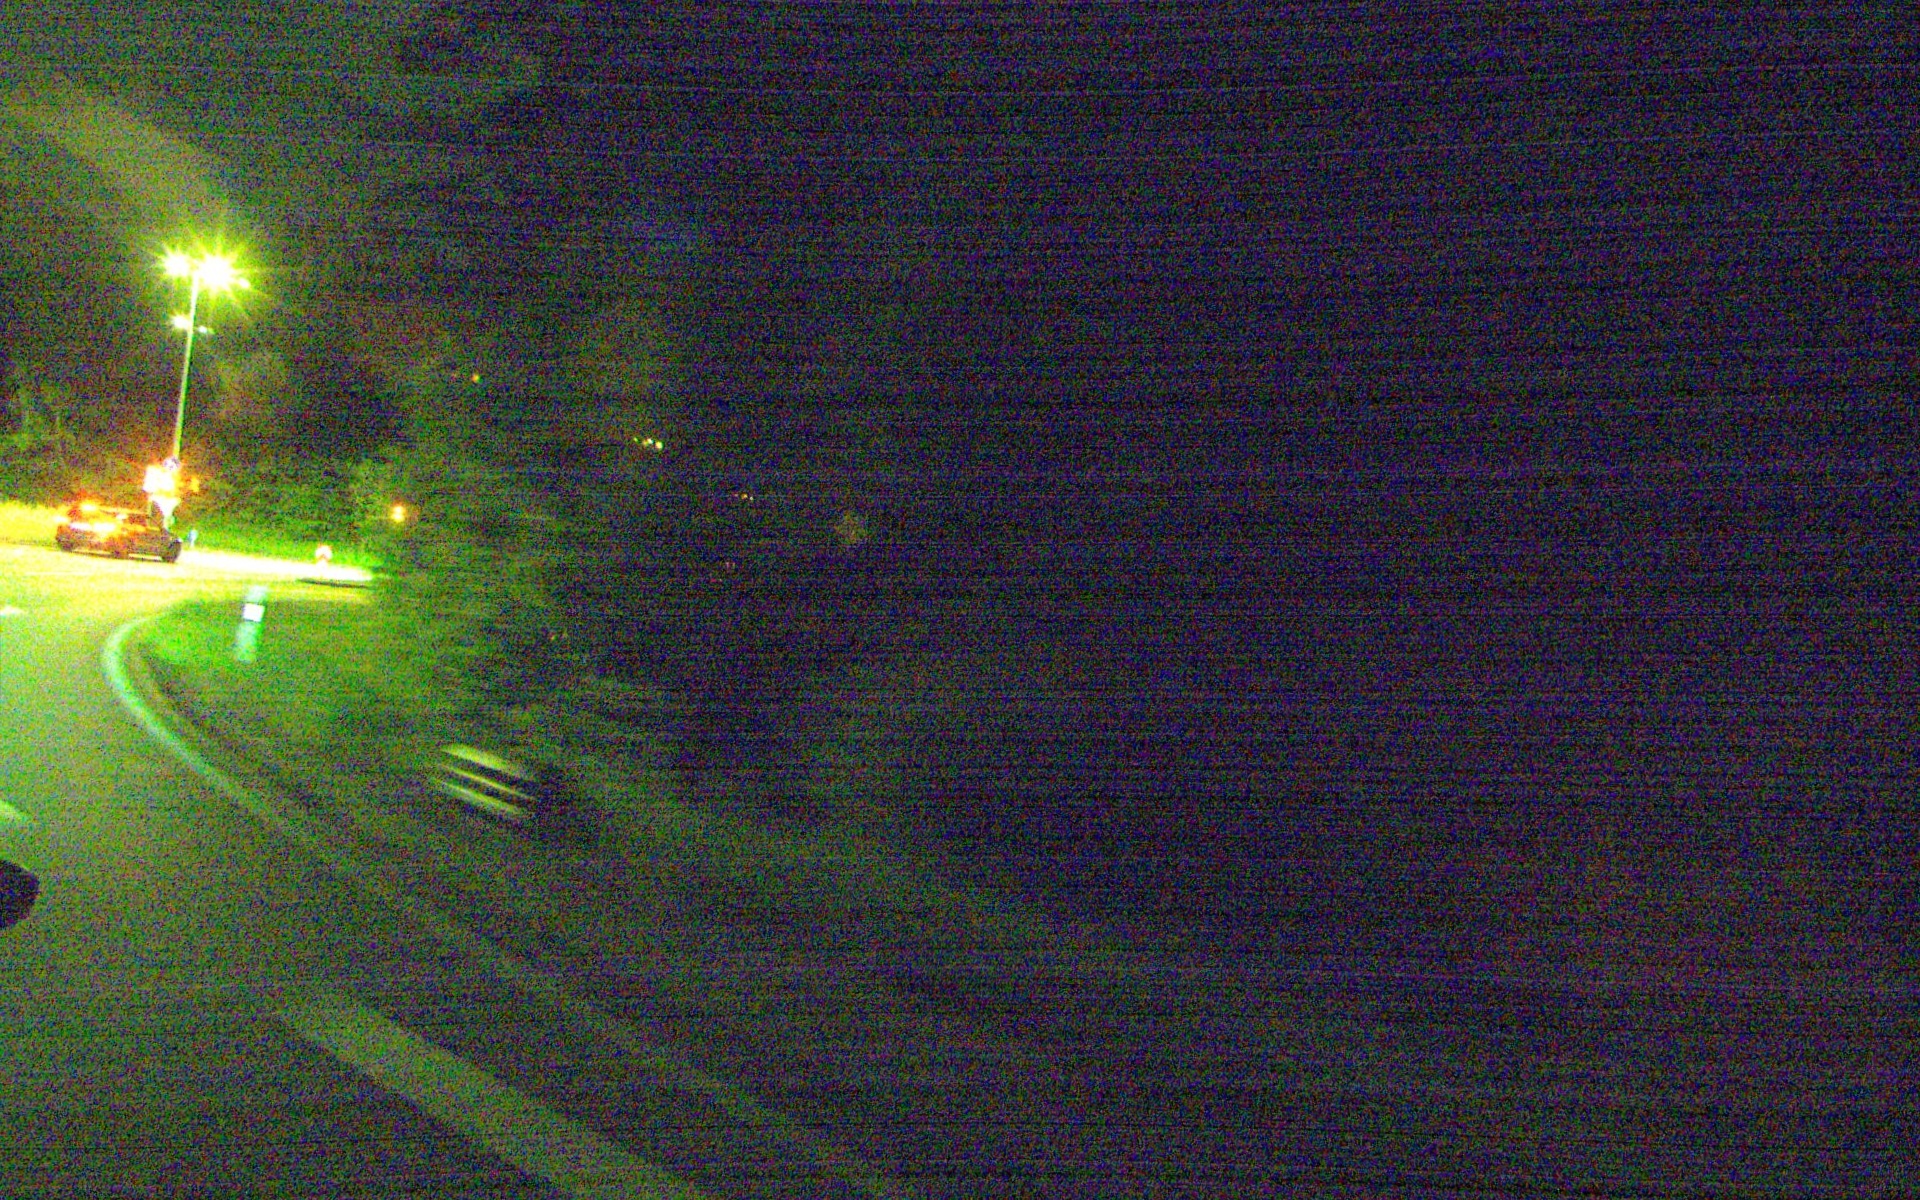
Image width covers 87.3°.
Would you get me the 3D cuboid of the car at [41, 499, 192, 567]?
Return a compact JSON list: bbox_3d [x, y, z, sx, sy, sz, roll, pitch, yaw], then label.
[{"bbox_3d":[-27.908,-2.165,33.490,1.827,1.600,4.004,9,-2,-8],"label":"car"}]
